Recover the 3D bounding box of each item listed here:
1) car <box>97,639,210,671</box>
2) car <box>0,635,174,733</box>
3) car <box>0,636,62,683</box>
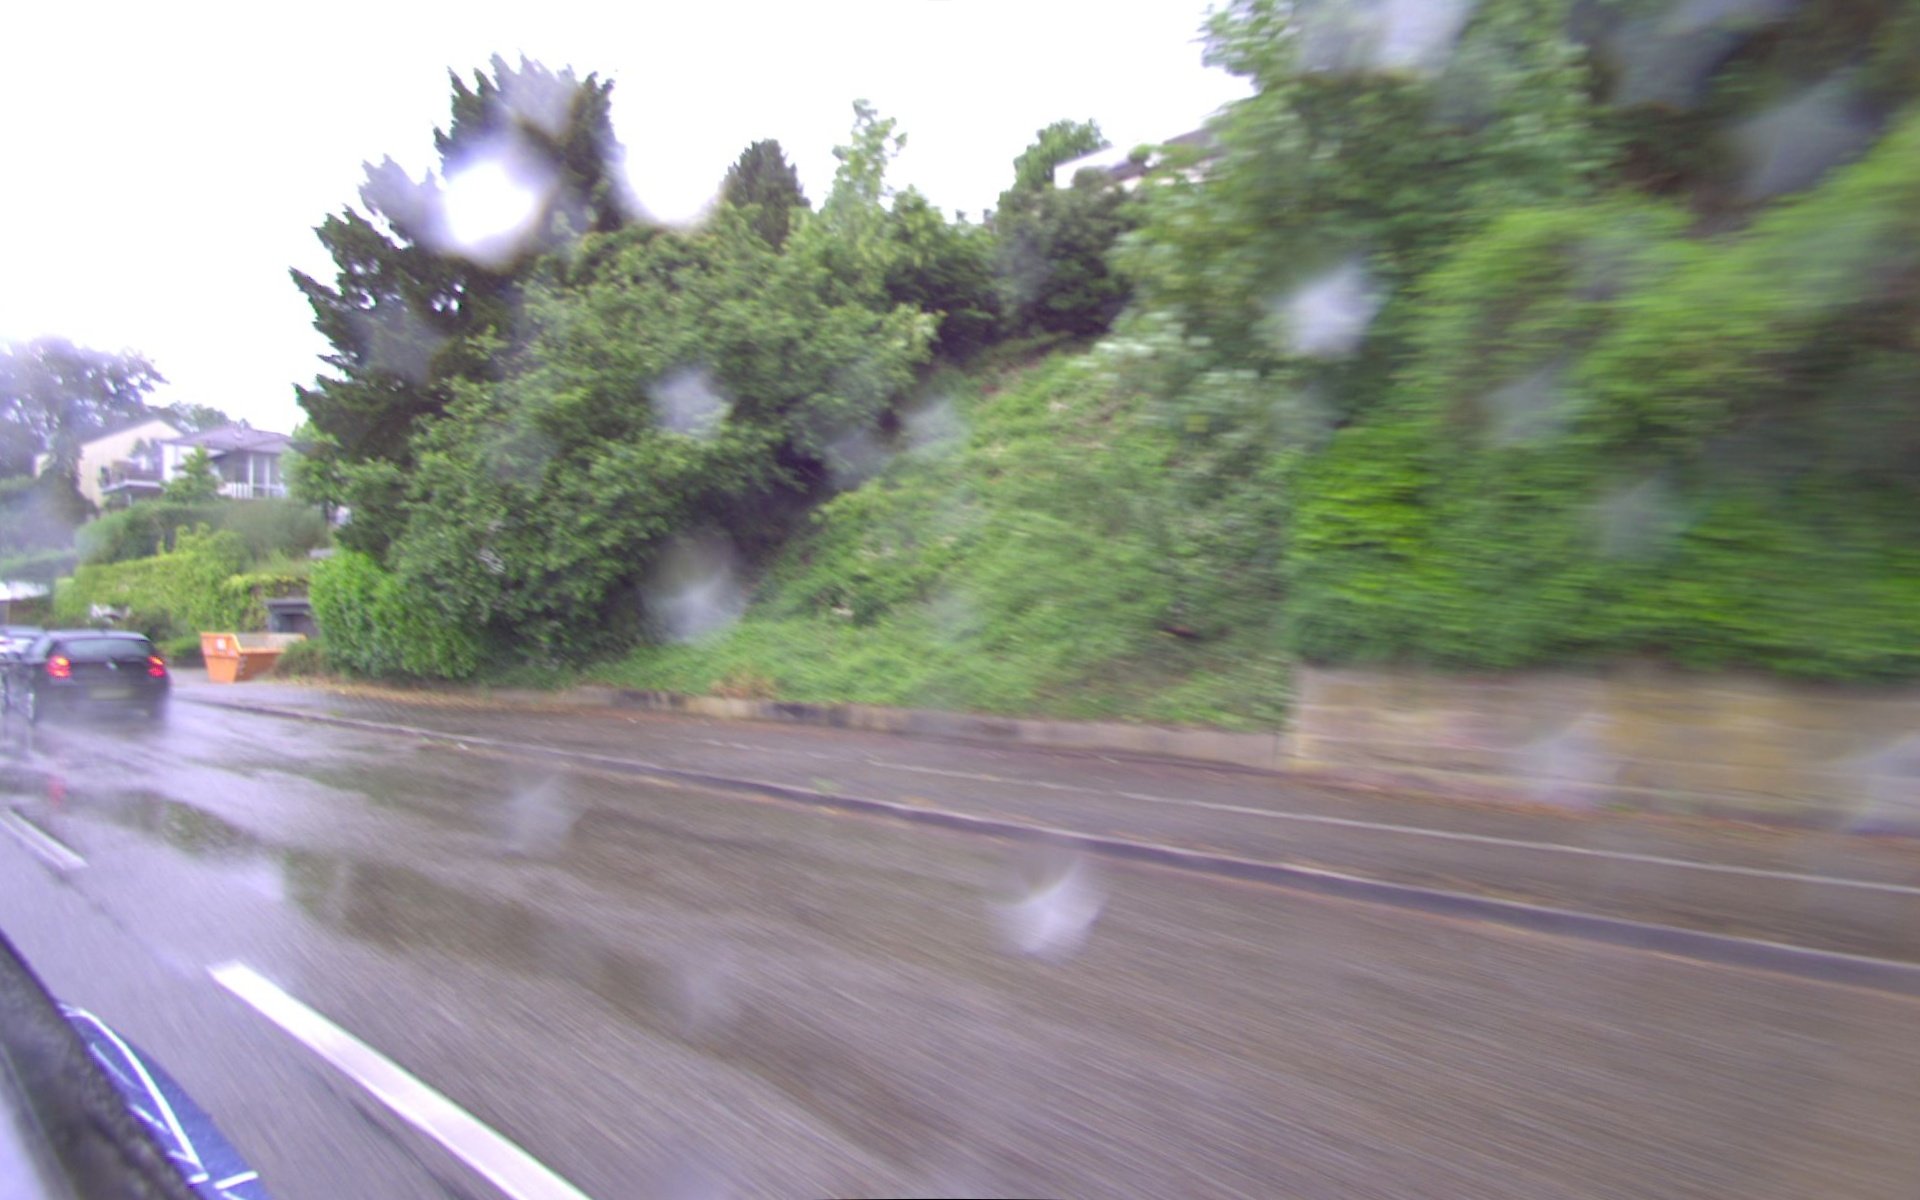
[{"bbox_3d":[-36.844,2.486,46.298,1.864,1.394,3.720,-2,-3,39],"label":"car"},{"bbox_3d":[-14.261,1.264,16.304,3.982,1.362,1.638,-1,-2,39],"label":"car"},{"bbox_3d":[-32.927,2.025,35.113,4.211,1.509,1.740,-1,-3,36],"label":"car"}]
